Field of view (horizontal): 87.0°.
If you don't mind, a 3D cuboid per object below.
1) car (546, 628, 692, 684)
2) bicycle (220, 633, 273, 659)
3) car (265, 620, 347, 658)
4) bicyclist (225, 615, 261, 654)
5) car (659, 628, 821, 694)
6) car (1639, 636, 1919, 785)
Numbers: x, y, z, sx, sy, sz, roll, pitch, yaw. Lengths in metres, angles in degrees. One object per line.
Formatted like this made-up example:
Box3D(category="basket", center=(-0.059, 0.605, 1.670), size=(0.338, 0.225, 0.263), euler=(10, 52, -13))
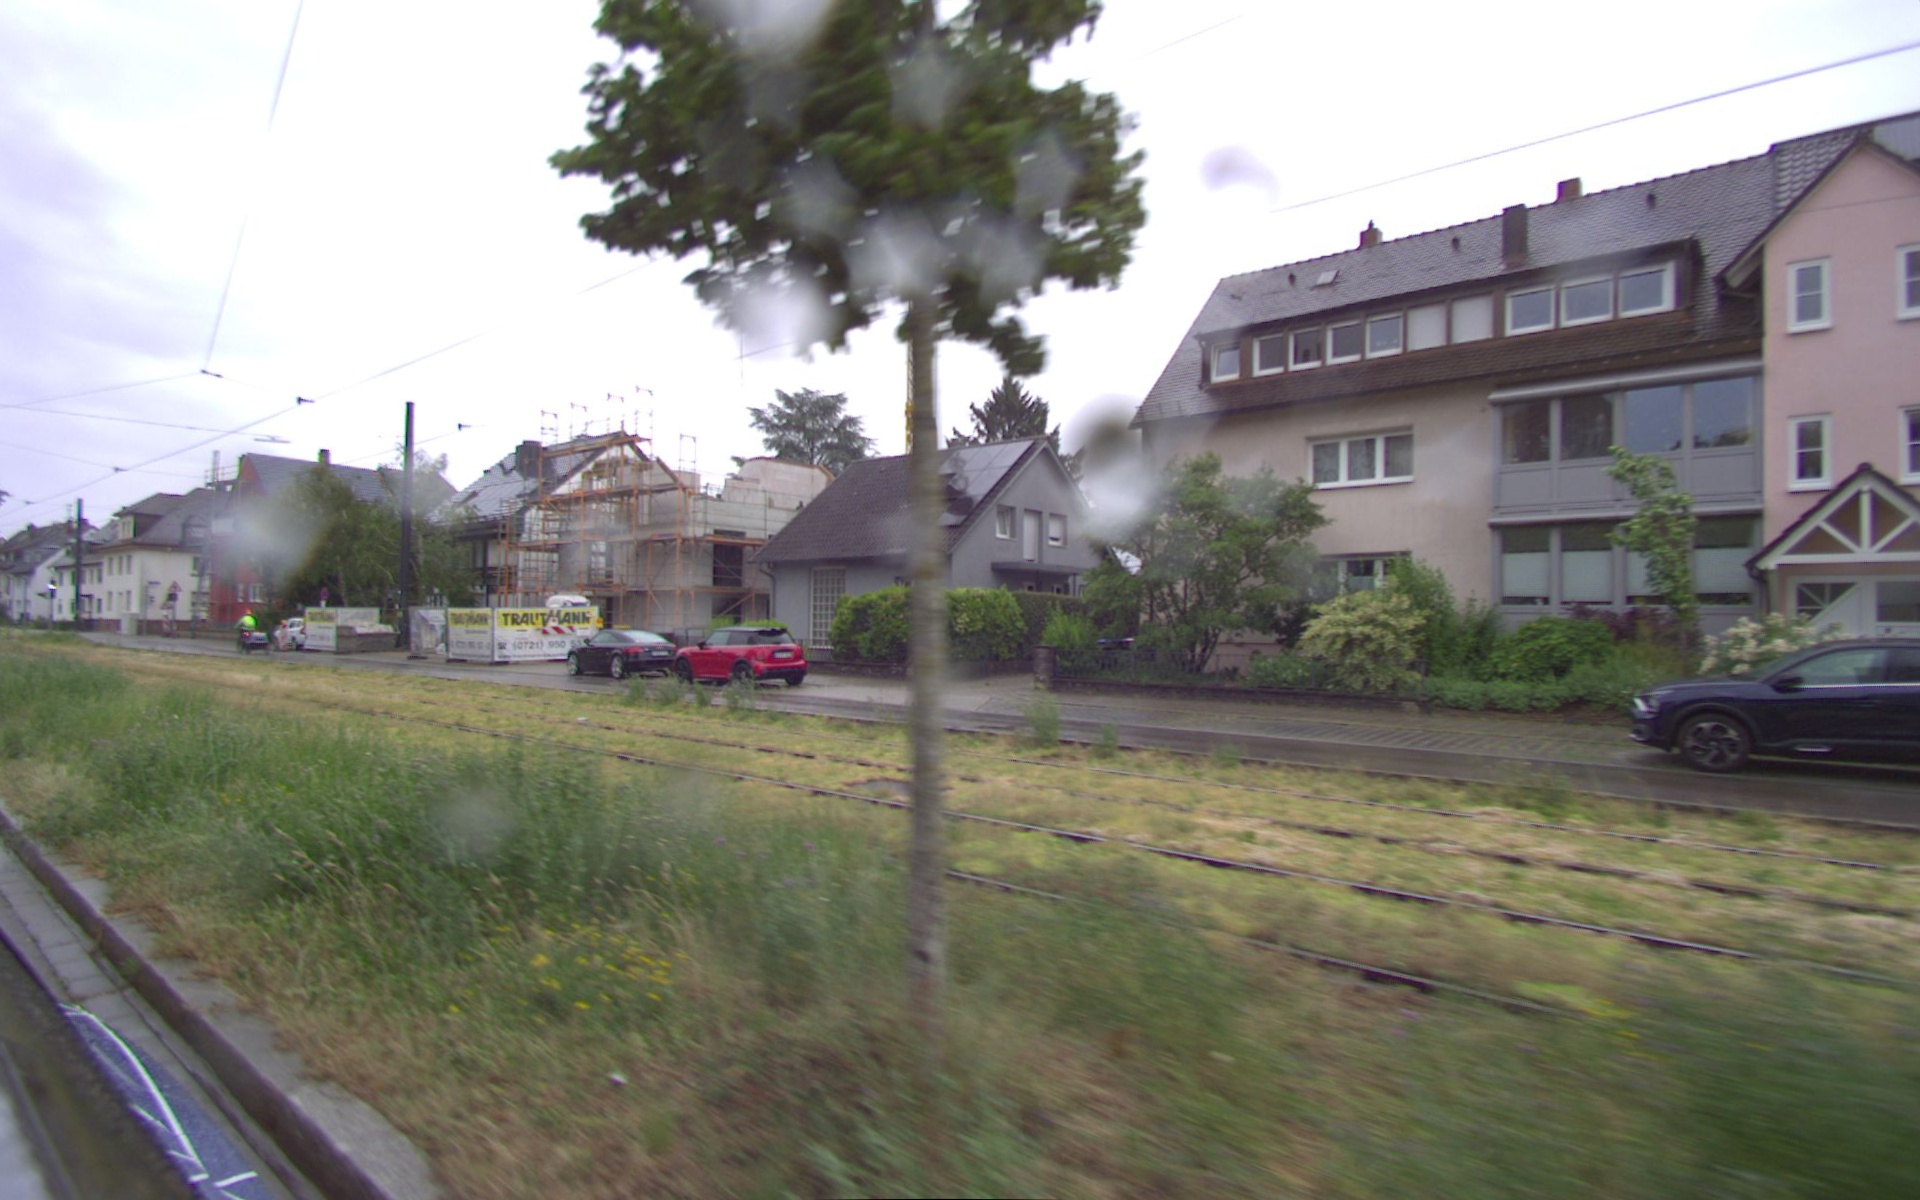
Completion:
Box3D(category="car", center=(-9.551, 1.533, 28.207), size=(4.171, 1.420, 1.973), euler=(-3, -2, 40))
Box3D(category="bicycle", center=(-30.283, 1.932, 42.905), size=(3.430, 1.051, 0.925), euler=(-1, -3, 39))
Box3D(category="car", center=(-30.982, 1.793, 47.916), size=(4.246, 1.640, 1.974), euler=(0, -1, 38))
Box3D(category="bicyclist", center=(-30.580, 1.461, 43.157), size=(1.399, 1.596, 0.944), euler=(0, -1, 40))
Box3D(category="car", center=(-5.468, 1.440, 24.941), size=(3.840, 1.383, 1.973), euler=(0, -1, 40))
Box3D(category="car", center=(10.162, 1.183, 11.276), size=(4.171, 1.437, 1.818), euler=(0, -1, 40))
